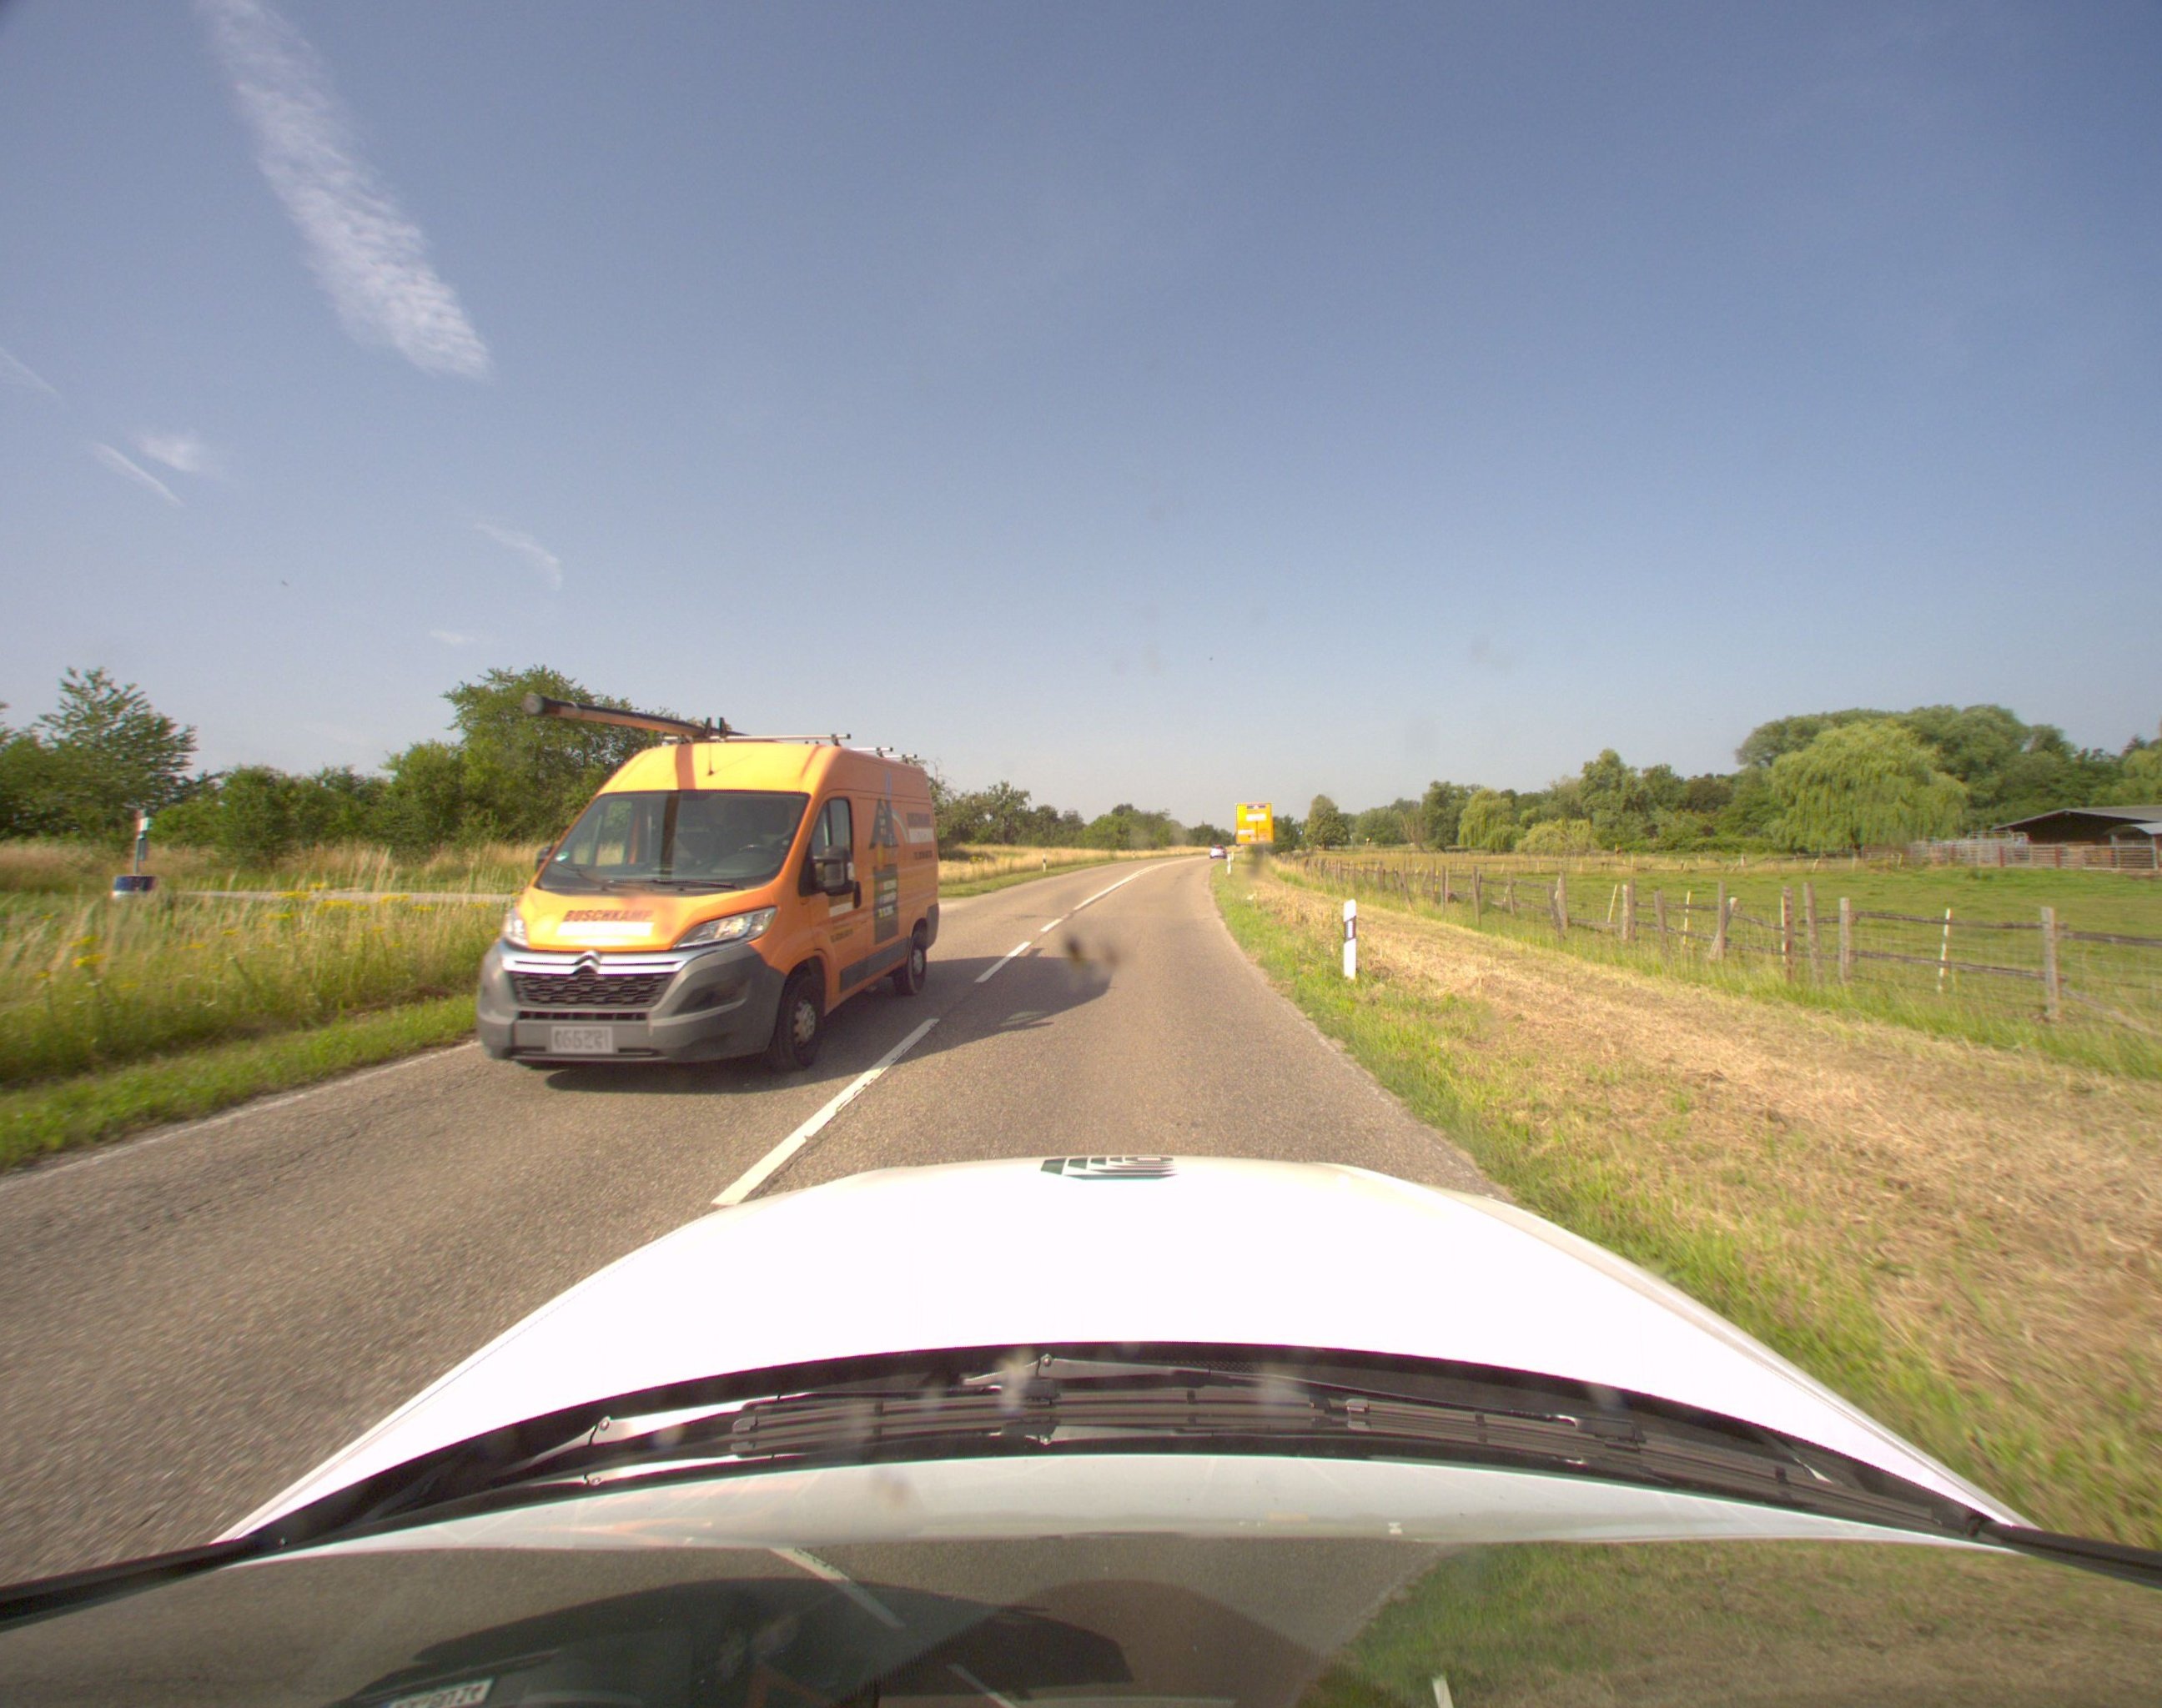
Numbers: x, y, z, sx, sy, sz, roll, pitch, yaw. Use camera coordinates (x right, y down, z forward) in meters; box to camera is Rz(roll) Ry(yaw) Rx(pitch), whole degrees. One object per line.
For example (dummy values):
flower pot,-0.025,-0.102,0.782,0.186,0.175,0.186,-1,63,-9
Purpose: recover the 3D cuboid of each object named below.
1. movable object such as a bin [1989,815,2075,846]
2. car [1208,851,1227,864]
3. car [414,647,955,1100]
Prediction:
movable object such as a bin,70.543,-1.706,60.520,1.981,2.193,4.176,-1,0,11
car,16.383,0.412,97.547,1.885,1.512,4.016,0,0,14
car,-2.812,0.106,7.538,2.114,2.696,5.274,0,0,4
